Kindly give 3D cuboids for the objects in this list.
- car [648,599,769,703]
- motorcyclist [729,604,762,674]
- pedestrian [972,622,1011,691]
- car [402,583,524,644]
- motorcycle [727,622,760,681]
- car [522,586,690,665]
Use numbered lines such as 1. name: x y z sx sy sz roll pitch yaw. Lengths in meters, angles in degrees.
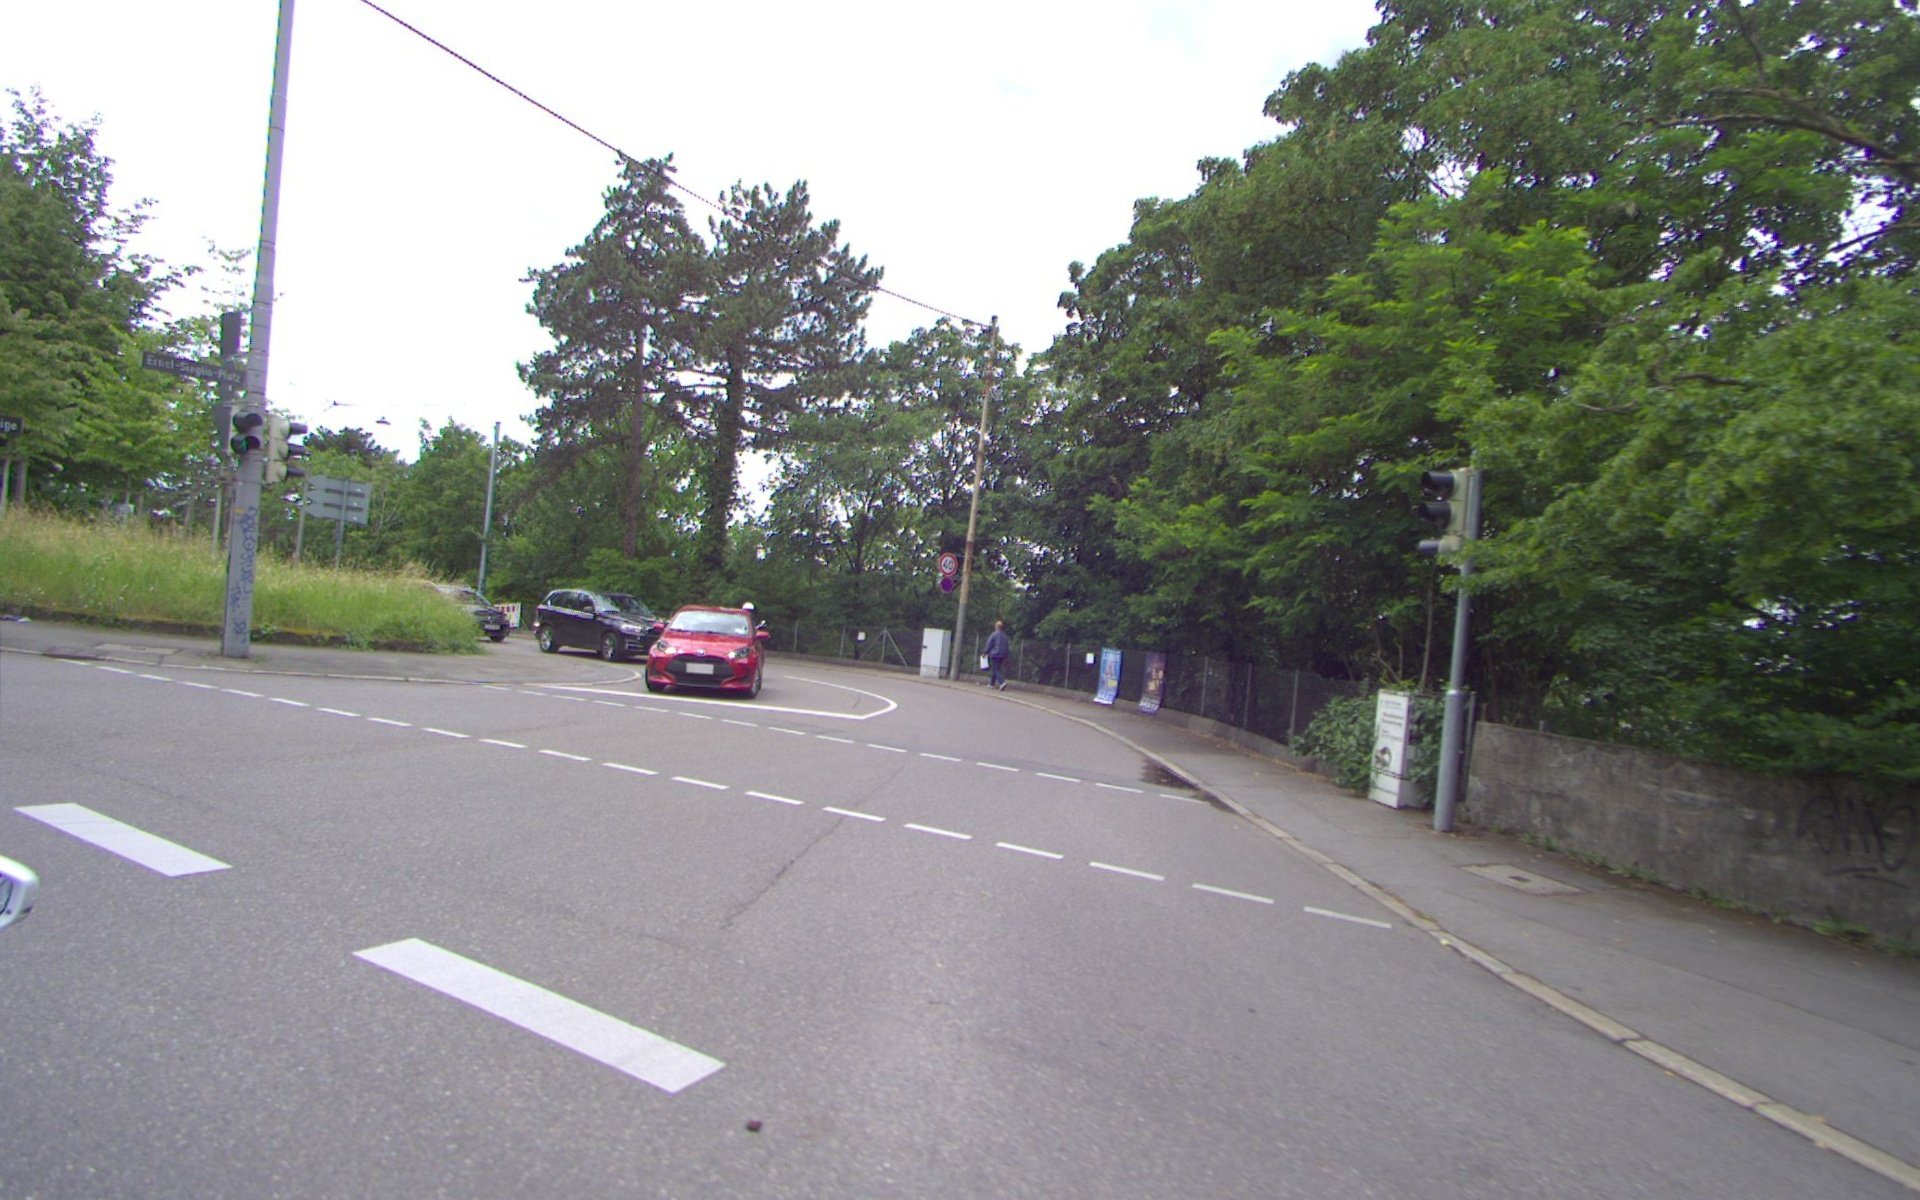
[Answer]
1. car: -4.281 0.848 17.626 1.644 1.485 3.952 5 -2 -9
2. motorcyclist: -4.707 0.845 22.051 0.591 1.448 0.755 5 1 -12
3. pedestrian: 0.778 1.392 24.941 0.663 1.652 0.679 1 2 -33
4. car: -14.986 0.394 30.267 3.943 1.503 1.715 3 -2 39
5. motorcycle: -4.738 1.113 22.072 0.590 1.167 1.578 5 0 -12
6. car: -9.230 0.633 26.064 4.609 1.698 1.812 3 -1 37
